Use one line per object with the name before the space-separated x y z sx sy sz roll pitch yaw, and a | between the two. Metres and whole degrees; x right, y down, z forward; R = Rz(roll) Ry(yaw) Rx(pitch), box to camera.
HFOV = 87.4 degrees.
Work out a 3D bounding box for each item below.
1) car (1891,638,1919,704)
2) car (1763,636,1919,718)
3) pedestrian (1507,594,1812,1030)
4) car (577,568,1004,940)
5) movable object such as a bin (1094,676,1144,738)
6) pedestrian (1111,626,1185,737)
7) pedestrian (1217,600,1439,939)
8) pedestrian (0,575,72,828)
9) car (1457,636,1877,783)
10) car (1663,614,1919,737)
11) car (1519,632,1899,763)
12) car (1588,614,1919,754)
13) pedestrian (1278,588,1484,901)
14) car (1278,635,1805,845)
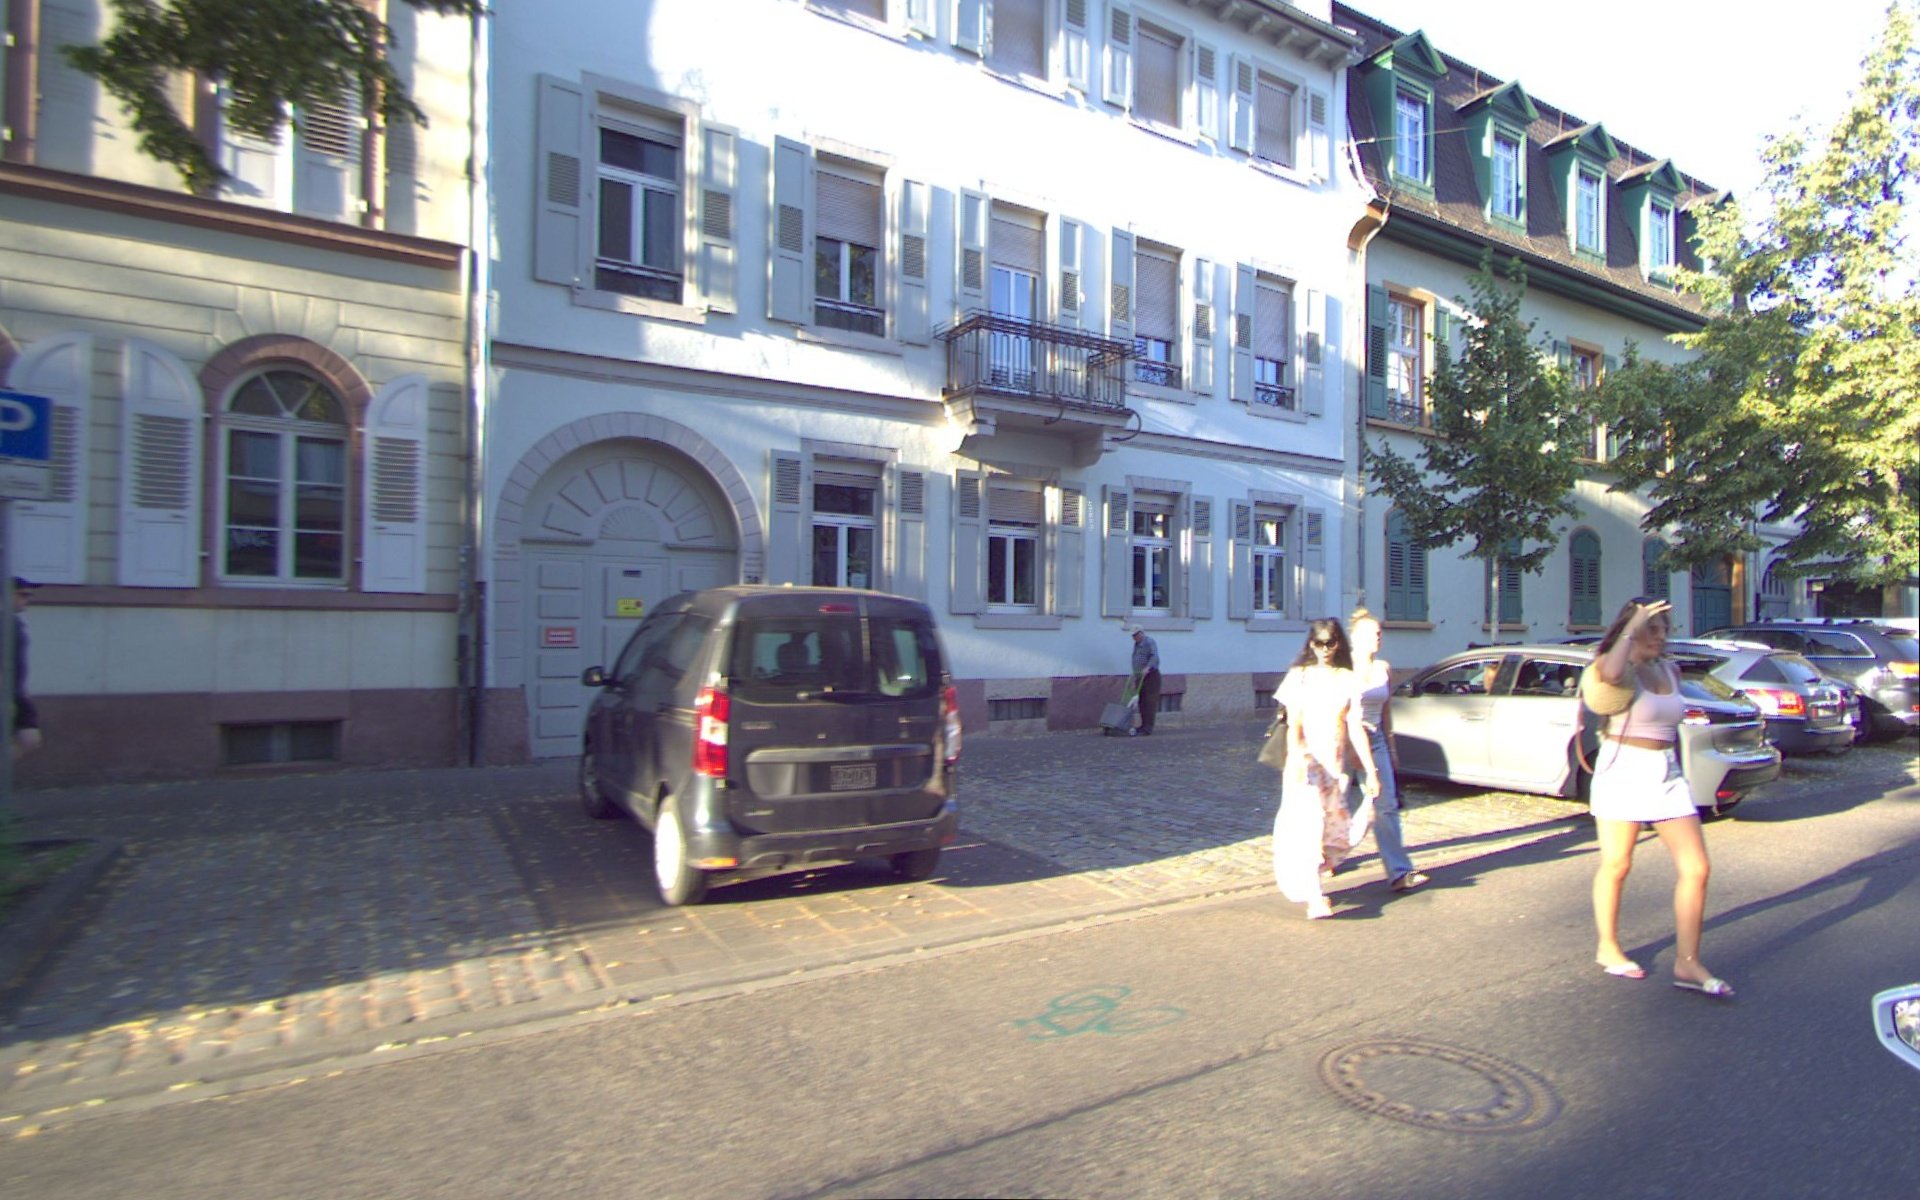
car | 23.916 1.682 22.658 1.881 1.521 3.907 1 -1 -28
car | 19.006 1.534 19.960 1.712 1.505 4.460 1 -1 -28
pedestrian | 3.049 0.830 4.415 0.818 1.660 0.823 1 -2 -30
car | -1.507 0.811 7.207 1.784 1.830 4.121 1 -2 -28
movable object such as a bin | 2.239 1.496 14.162 0.527 0.808 0.445 1 0 -32
pedestrian | 2.715 1.152 14.534 0.787 1.542 0.692 1 0 -32
pedestrian | 2.060 0.878 5.696 0.753 1.717 0.917 1 -2 -30
pedestrian | -7.224 0.734 7.464 0.771 1.825 0.659 1 -2 -31
car | 8.845 1.247 12.940 1.940 1.503 4.018 1 -2 -30
car | 15.306 1.228 17.342 1.951 1.933 4.847 1 -2 -30
car | 10.673 1.278 14.651 1.940 1.576 4.022 1 -2 -28
car | 12.718 1.191 15.884 1.871 1.895 4.408 1 -2 -30
pedestrian | 2.636 0.849 6.344 0.753 1.782 0.917 1 -3 -30
car | 5.191 1.103 9.528 1.667 1.480 4.036 1 -2 -32
